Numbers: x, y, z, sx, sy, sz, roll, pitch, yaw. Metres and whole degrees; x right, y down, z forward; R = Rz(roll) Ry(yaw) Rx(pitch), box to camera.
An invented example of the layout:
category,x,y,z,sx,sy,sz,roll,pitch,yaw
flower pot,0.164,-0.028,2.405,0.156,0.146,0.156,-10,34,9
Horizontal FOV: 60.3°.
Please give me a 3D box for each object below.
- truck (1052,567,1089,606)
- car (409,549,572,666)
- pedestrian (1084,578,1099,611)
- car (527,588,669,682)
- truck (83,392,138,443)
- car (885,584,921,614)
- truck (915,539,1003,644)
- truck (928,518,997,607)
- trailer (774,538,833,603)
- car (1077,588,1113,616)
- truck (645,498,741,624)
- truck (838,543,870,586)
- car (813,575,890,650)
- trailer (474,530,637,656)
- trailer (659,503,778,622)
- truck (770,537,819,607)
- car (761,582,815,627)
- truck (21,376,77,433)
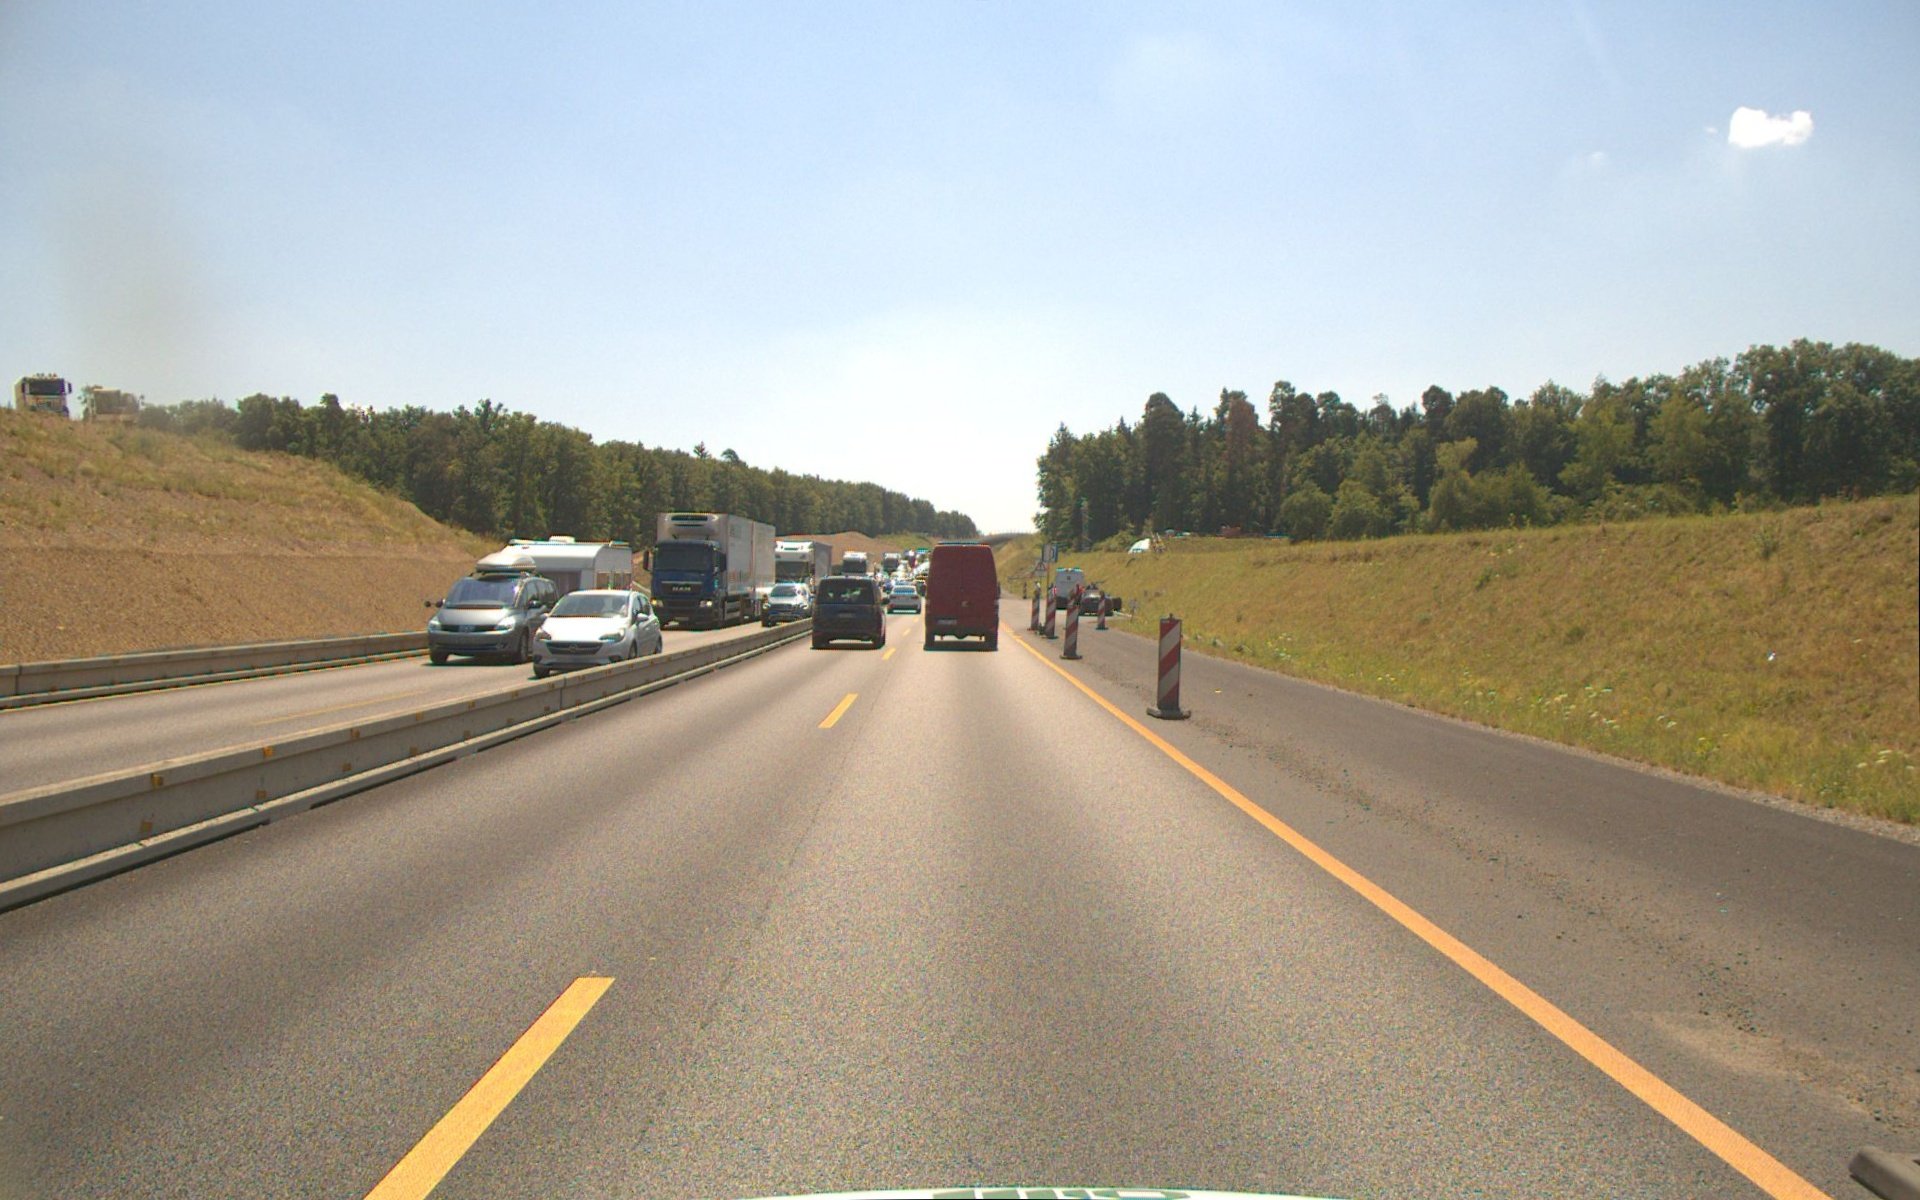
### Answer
category,x,y,z,sx,sy,sz,roll,pitch,yaw
truck,7.346,-0.906,109.312,2.084,2.499,5.930,1,1,6
car,-9.454,0.143,33.748,1.953,2.193,4.864,-1,0,0
pedestrian,7.498,-0.314,94.280,0.613,1.860,0.640,1,1,-12
car,-6.305,0.585,29.223,1.654,1.528,3.975,1,0,-1
truck,-61.951,-13.240,120.497,2.276,2.797,8.794,1,0,-35
car,-3.073,-0.055,89.503,1.794,1.548,3.960,1,0,0
truck,-0.090,-0.203,44.695,2.110,2.635,5.330,1,0,-3
truck,0.118,-2.379,113.983,4.310,5.592,16.601,1,0,0
trailer,-10.211,-1.870,109.084,2.599,4.007,13.995,1,0,0
car,7.417,0.085,91.188,1.620,1.451,4.545,-2,1,0
truck,-9.516,-1.348,59.543,2.440,4.272,5.911,-1,0,0
truck,-10.453,-3.493,163.353,2.712,4.114,4.943,1,0,0
car,-2.823,0.279,43.935,1.716,1.856,4.782,1,1,0
trailer,-9.517,-0.175,39.572,2.264,2.733,6.755,-1,0,-1
trailer,-9.517,-1.395,67.089,2.451,4.252,15.533,-1,0,0
truck,-10.141,-1.719,101.973,2.539,4.124,5.148,1,0,-1
car,-6.577,0.184,63.613,1.654,1.642,4.592,1,0,-1
truck,-62.243,-13.271,112.919,2.335,2.949,8.262,1,0,-36
